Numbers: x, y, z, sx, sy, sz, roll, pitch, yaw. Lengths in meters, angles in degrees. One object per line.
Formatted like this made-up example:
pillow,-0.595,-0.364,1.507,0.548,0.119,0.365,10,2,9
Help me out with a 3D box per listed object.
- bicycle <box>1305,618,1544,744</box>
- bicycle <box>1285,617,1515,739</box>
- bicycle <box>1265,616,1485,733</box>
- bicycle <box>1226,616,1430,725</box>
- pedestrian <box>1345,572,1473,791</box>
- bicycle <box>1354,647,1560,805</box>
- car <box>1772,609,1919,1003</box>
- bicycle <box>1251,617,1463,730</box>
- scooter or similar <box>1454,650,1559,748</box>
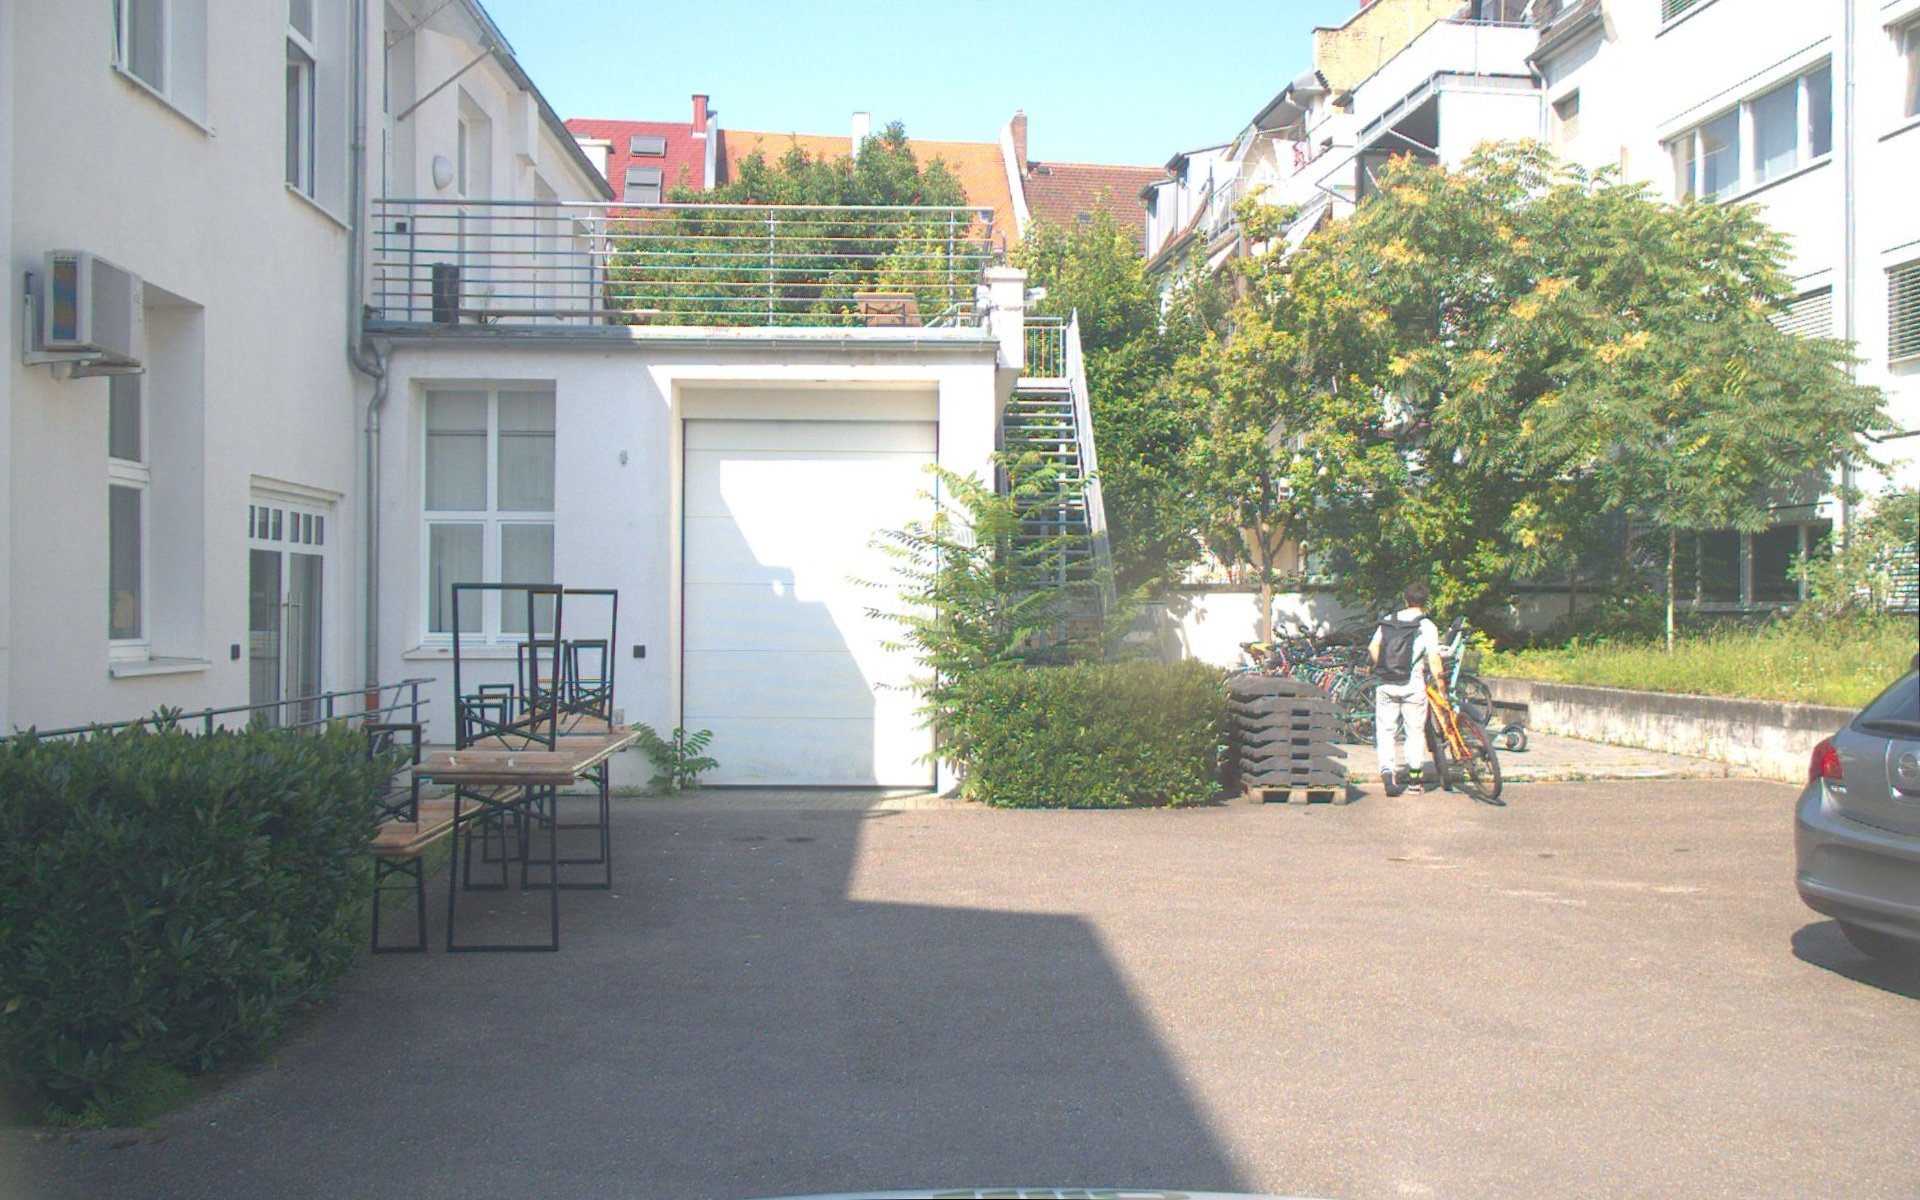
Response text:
bicycle,4.873,0.845,17.398,2.362,1.268,0.526,1,-1,-2
bicycle,4.788,0.846,18.052,2.362,1.268,0.526,1,-1,-2
bicycle,4.713,0.843,18.846,2.362,1.268,0.526,1,-1,-2
bicycle,4.480,0.848,20.170,2.362,1.268,0.526,1,-1,-2
pedestrian,3.813,0.681,14.061,0.846,1.803,0.607,1,-1,-22
bicycle,4.134,1.014,13.932,0.482,1.163,1.978,-1,0,-24
car,5.510,0.780,6.757,3.832,1.491,1.656,0,0,-16
bicycle,4.662,0.856,19.461,2.362,1.268,0.526,1,-1,-2
scooter or similar,5.594,1.004,16.961,0.357,0.940,0.985,1,-1,-39
